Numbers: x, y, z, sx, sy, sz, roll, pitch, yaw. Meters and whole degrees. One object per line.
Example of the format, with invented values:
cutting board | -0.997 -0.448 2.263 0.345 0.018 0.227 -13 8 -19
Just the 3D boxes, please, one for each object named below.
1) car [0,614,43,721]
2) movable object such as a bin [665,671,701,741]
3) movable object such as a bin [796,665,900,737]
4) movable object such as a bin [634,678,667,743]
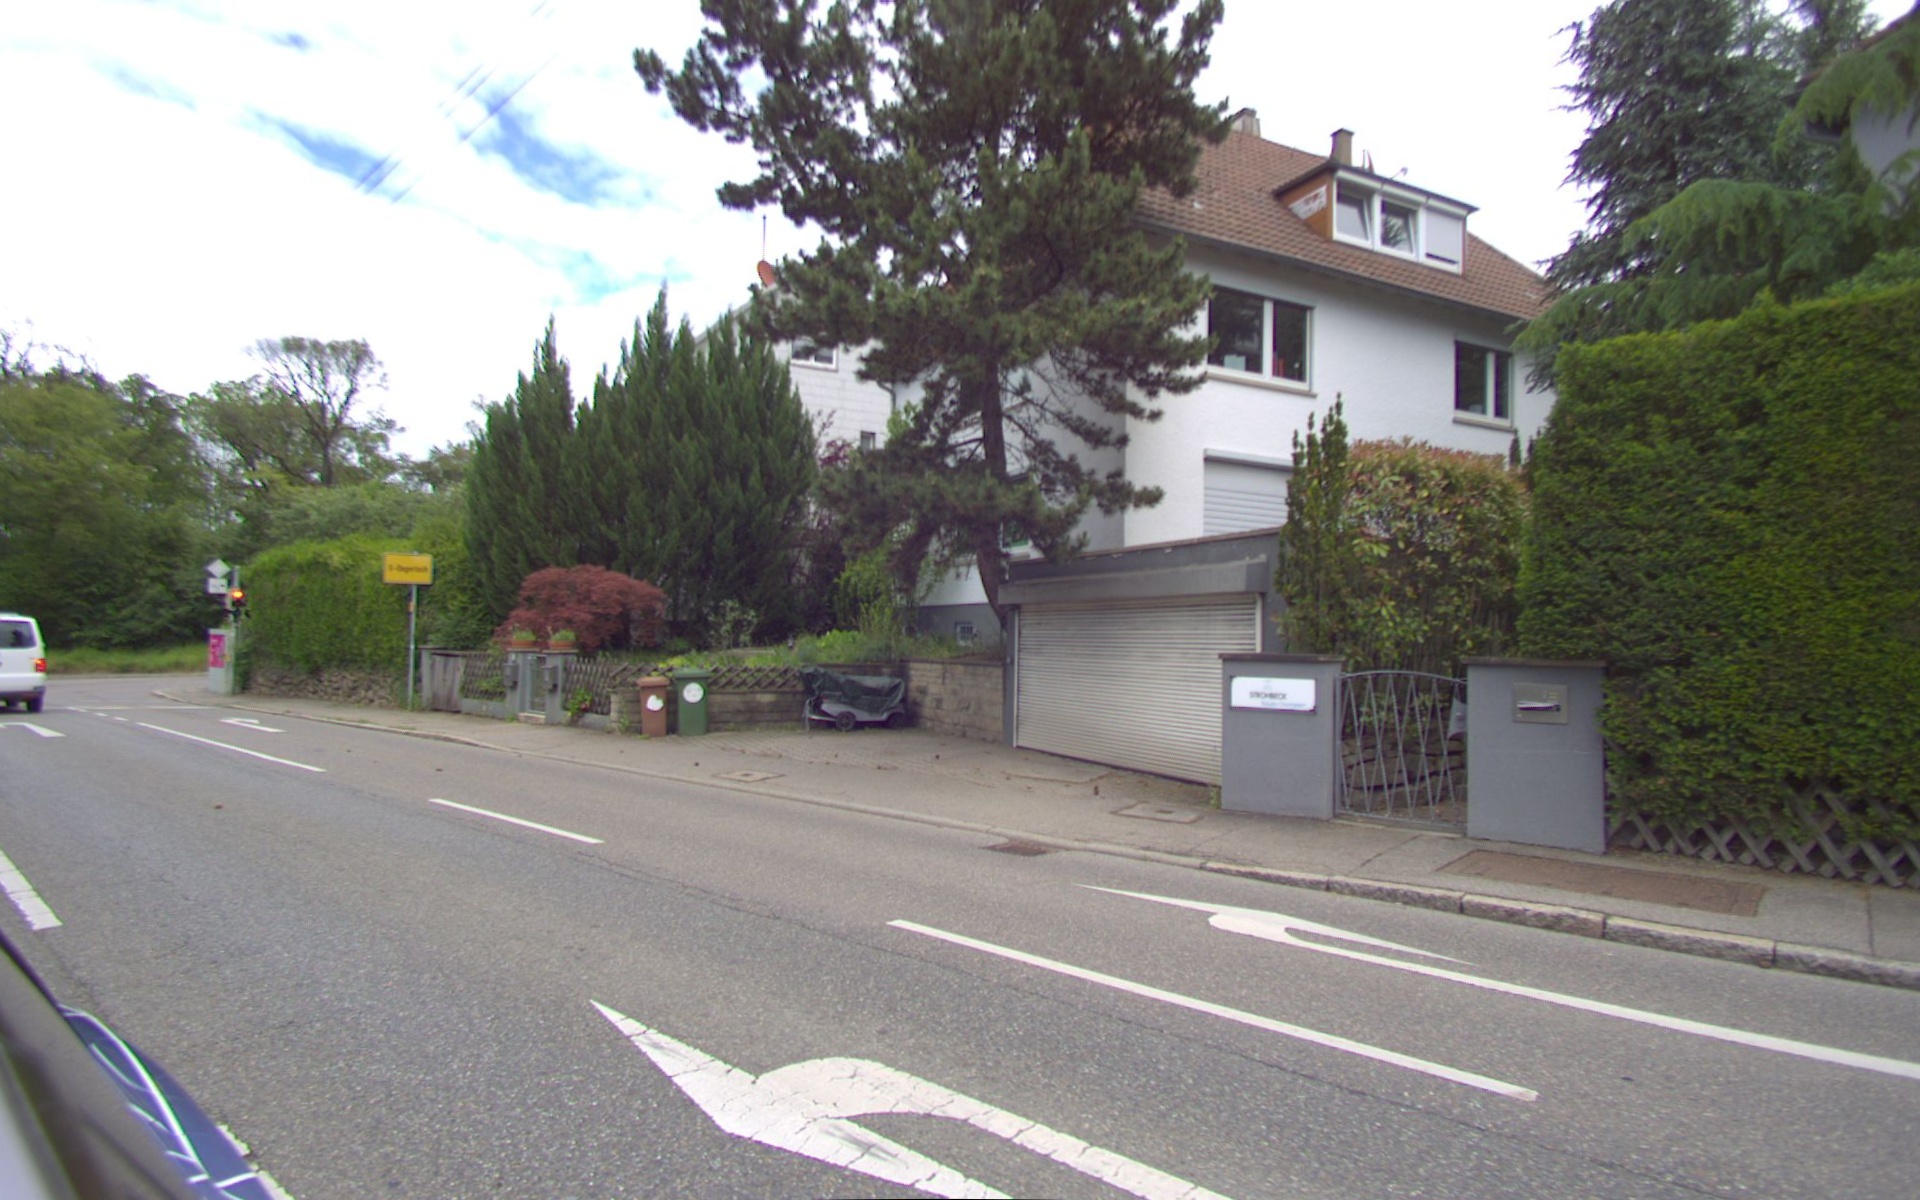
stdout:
car | -20.764 1.374 21.028 5.168 2.063 1.839 -2 -4 41
movable object such as a bin | -4.358 1.651 15.927 0.472 1.042 0.718 1 -2 -20
movable object such as a bin | -1.844 1.635 16.608 1.570 1.089 0.719 0 -2 -18
movable object such as a bin | -4.828 1.714 15.774 0.457 0.949 0.649 1 -2 -20
